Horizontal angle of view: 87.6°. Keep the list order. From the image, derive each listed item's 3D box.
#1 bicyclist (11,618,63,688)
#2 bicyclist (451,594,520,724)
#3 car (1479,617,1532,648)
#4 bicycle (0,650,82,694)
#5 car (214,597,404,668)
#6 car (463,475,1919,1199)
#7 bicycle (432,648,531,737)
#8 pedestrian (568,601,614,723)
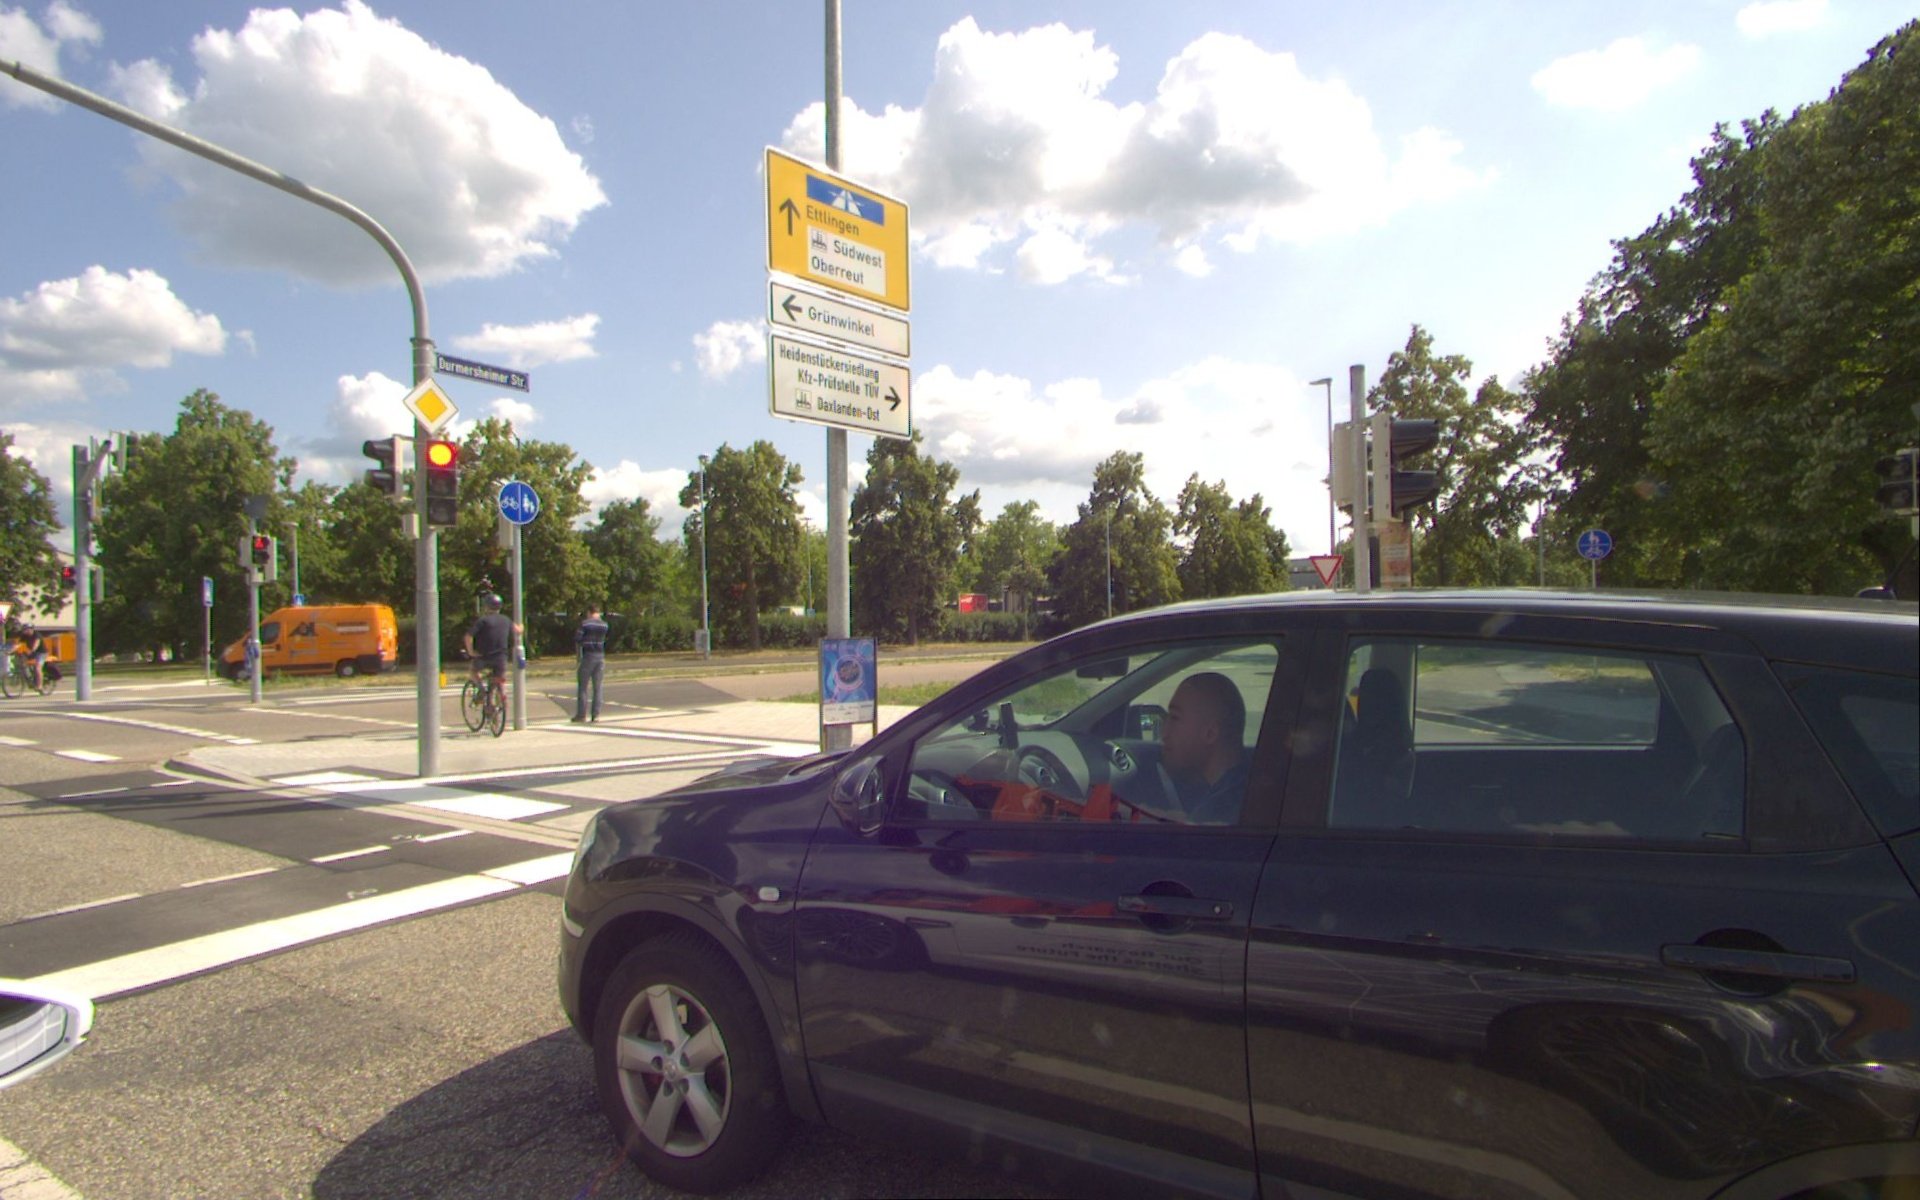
[{"bbox_3d":[-24.503,1.399,26.585,0.672,1.827,0.789,0,-1,-6],"label":"bicyclist"},{"bbox_3d":[-6.373,0.796,13.452,0.644,1.682,0.644,2,-4,-44],"label":"bicyclist"},{"bbox_3d":[23.129,1.429,42.546,1.886,1.192,3.767,-2,-4,27],"label":"car"},{"bbox_3d":[-24.505,1.892,26.646,0.672,1.107,2.004,0,-2,-5],"label":"bicycle"},{"bbox_3d":[-21.474,1.132,33.286,4.772,2.253,2.211,1,-3,-14],"label":"car"},{"bbox_3d":[0.685,0.702,2.736,3.941,1.571,1.798,-2,-4,31],"label":"car"},{"bbox_3d":[-6.507,1.221,13.575,0.644,1.121,1.910,3,-4,-43],"label":"bicycle"},{"bbox_3d":[-5.596,0.933,15.173,0.477,1.800,0.462,-2,-3,42],"label":"pedestrian"}]
